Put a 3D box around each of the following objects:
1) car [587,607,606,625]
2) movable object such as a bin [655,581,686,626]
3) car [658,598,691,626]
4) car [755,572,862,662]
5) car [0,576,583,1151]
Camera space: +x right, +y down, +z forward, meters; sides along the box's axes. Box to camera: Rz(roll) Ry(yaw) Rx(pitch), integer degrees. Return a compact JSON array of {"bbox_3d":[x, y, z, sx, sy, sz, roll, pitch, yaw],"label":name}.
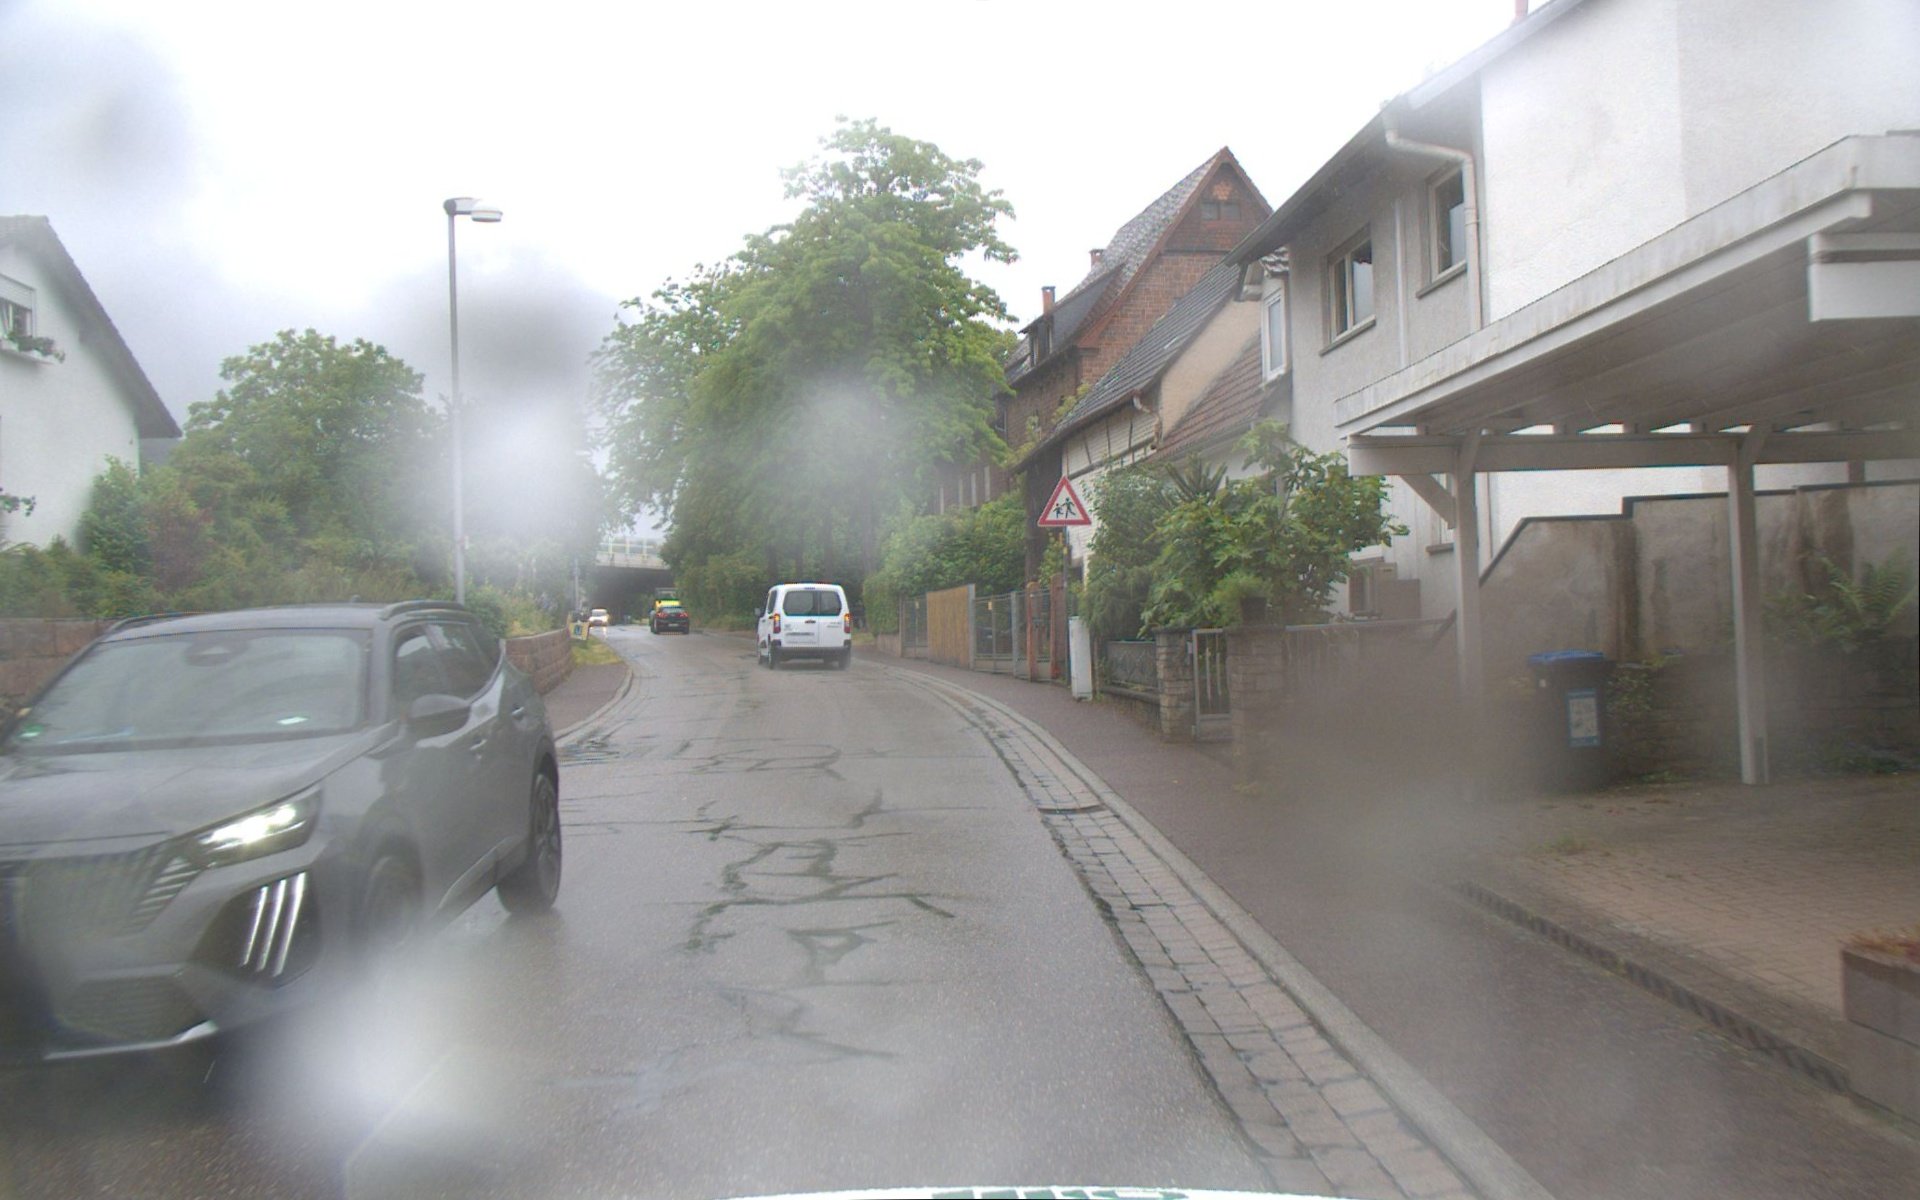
[{"bbox_3d":[-37.714,1.630,171.418,1.793,1.864,4.290,0,-1,-15],"label":"car"},{"bbox_3d":[-17.029,0.221,97.196,1.729,2.592,4.228,0,-1,-11],"label":"movable object such as a bin"},{"bbox_3d":[-14.913,0.630,86.277,1.678,1.402,3.990,0,-1,-10],"label":"car"},{"bbox_3d":[-3.446,0.353,36.970,1.864,1.838,3.987,-1,0,-12],"label":"car"},{"bbox_3d":[-2.735,0.757,6.625,1.666,1.573,3.848,-3,1,-3],"label":"car"}]
